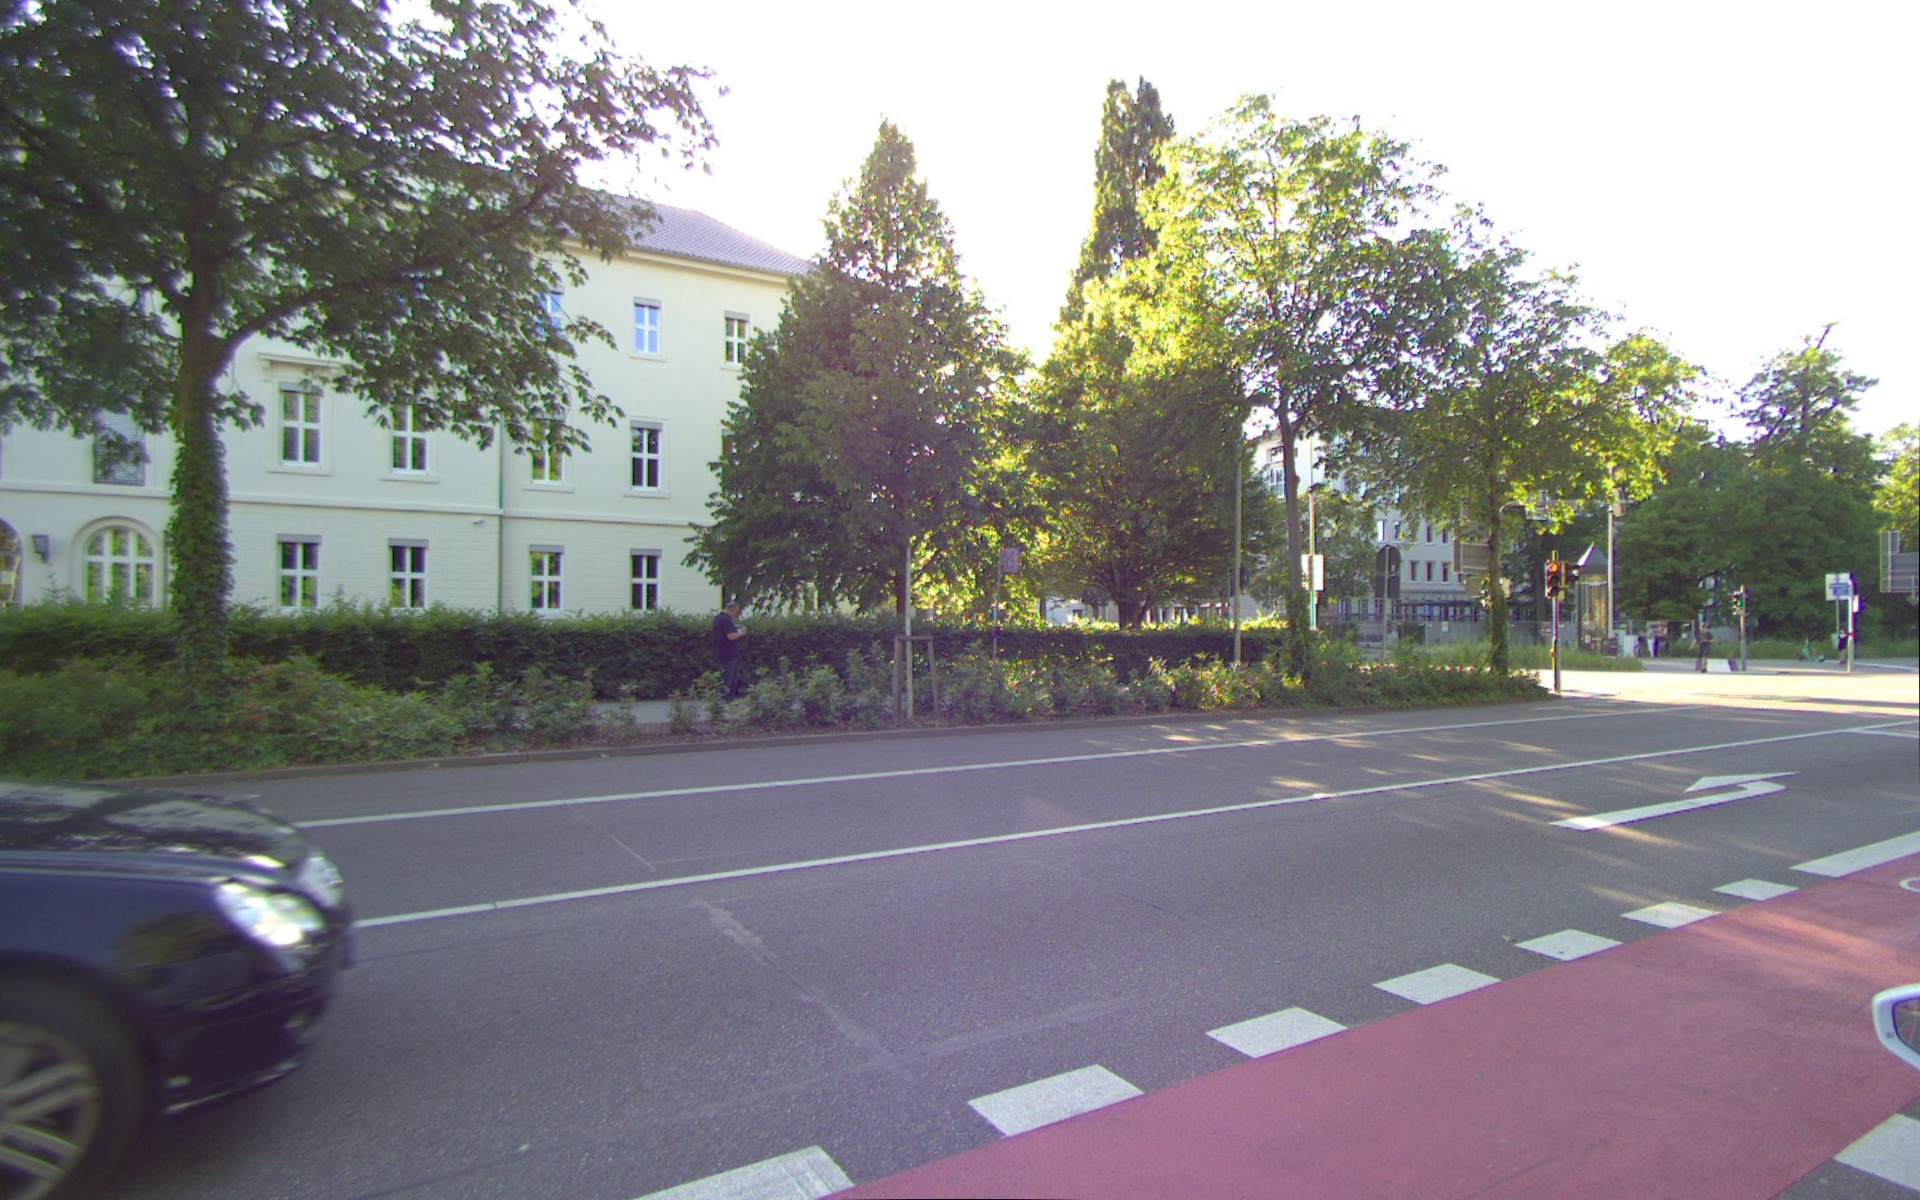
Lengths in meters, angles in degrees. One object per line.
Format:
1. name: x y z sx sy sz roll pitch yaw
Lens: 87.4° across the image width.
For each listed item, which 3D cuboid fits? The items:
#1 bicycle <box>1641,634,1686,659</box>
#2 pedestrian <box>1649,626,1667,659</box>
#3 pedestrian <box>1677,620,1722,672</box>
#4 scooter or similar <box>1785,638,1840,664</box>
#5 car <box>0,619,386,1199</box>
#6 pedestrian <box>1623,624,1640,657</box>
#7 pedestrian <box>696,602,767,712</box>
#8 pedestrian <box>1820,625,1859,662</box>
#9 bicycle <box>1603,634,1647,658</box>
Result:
1. bicycle: 35.002 2.321 49.987 0.288 1.163 1.849 1 -1 -36
2. pedestrian: 34.793 2.104 50.065 0.442 1.601 0.624 1 0 -39
3. pedestrian: 29.840 1.853 40.523 1.175 2.040 0.992 1 0 -25
4. scooter or similar: 39.534 2.369 46.574 1.882 1.139 0.713 1 0 3
5. car: -3.760 0.758 2.267 4.217 1.423 1.695 1 -2 -32
6. pedestrian: 34.217 2.062 51.180 0.442 1.664 0.624 1 0 -39
7. pedestrian: -3.789 0.924 16.613 0.956 1.743 0.831 1 -2 -30
8. pedestrian: 38.805 1.912 44.335 0.992 1.624 1.080 1 -2 -36
9. bicycle: 34.255 2.337 51.747 0.439 1.163 1.849 1 -1 -36
